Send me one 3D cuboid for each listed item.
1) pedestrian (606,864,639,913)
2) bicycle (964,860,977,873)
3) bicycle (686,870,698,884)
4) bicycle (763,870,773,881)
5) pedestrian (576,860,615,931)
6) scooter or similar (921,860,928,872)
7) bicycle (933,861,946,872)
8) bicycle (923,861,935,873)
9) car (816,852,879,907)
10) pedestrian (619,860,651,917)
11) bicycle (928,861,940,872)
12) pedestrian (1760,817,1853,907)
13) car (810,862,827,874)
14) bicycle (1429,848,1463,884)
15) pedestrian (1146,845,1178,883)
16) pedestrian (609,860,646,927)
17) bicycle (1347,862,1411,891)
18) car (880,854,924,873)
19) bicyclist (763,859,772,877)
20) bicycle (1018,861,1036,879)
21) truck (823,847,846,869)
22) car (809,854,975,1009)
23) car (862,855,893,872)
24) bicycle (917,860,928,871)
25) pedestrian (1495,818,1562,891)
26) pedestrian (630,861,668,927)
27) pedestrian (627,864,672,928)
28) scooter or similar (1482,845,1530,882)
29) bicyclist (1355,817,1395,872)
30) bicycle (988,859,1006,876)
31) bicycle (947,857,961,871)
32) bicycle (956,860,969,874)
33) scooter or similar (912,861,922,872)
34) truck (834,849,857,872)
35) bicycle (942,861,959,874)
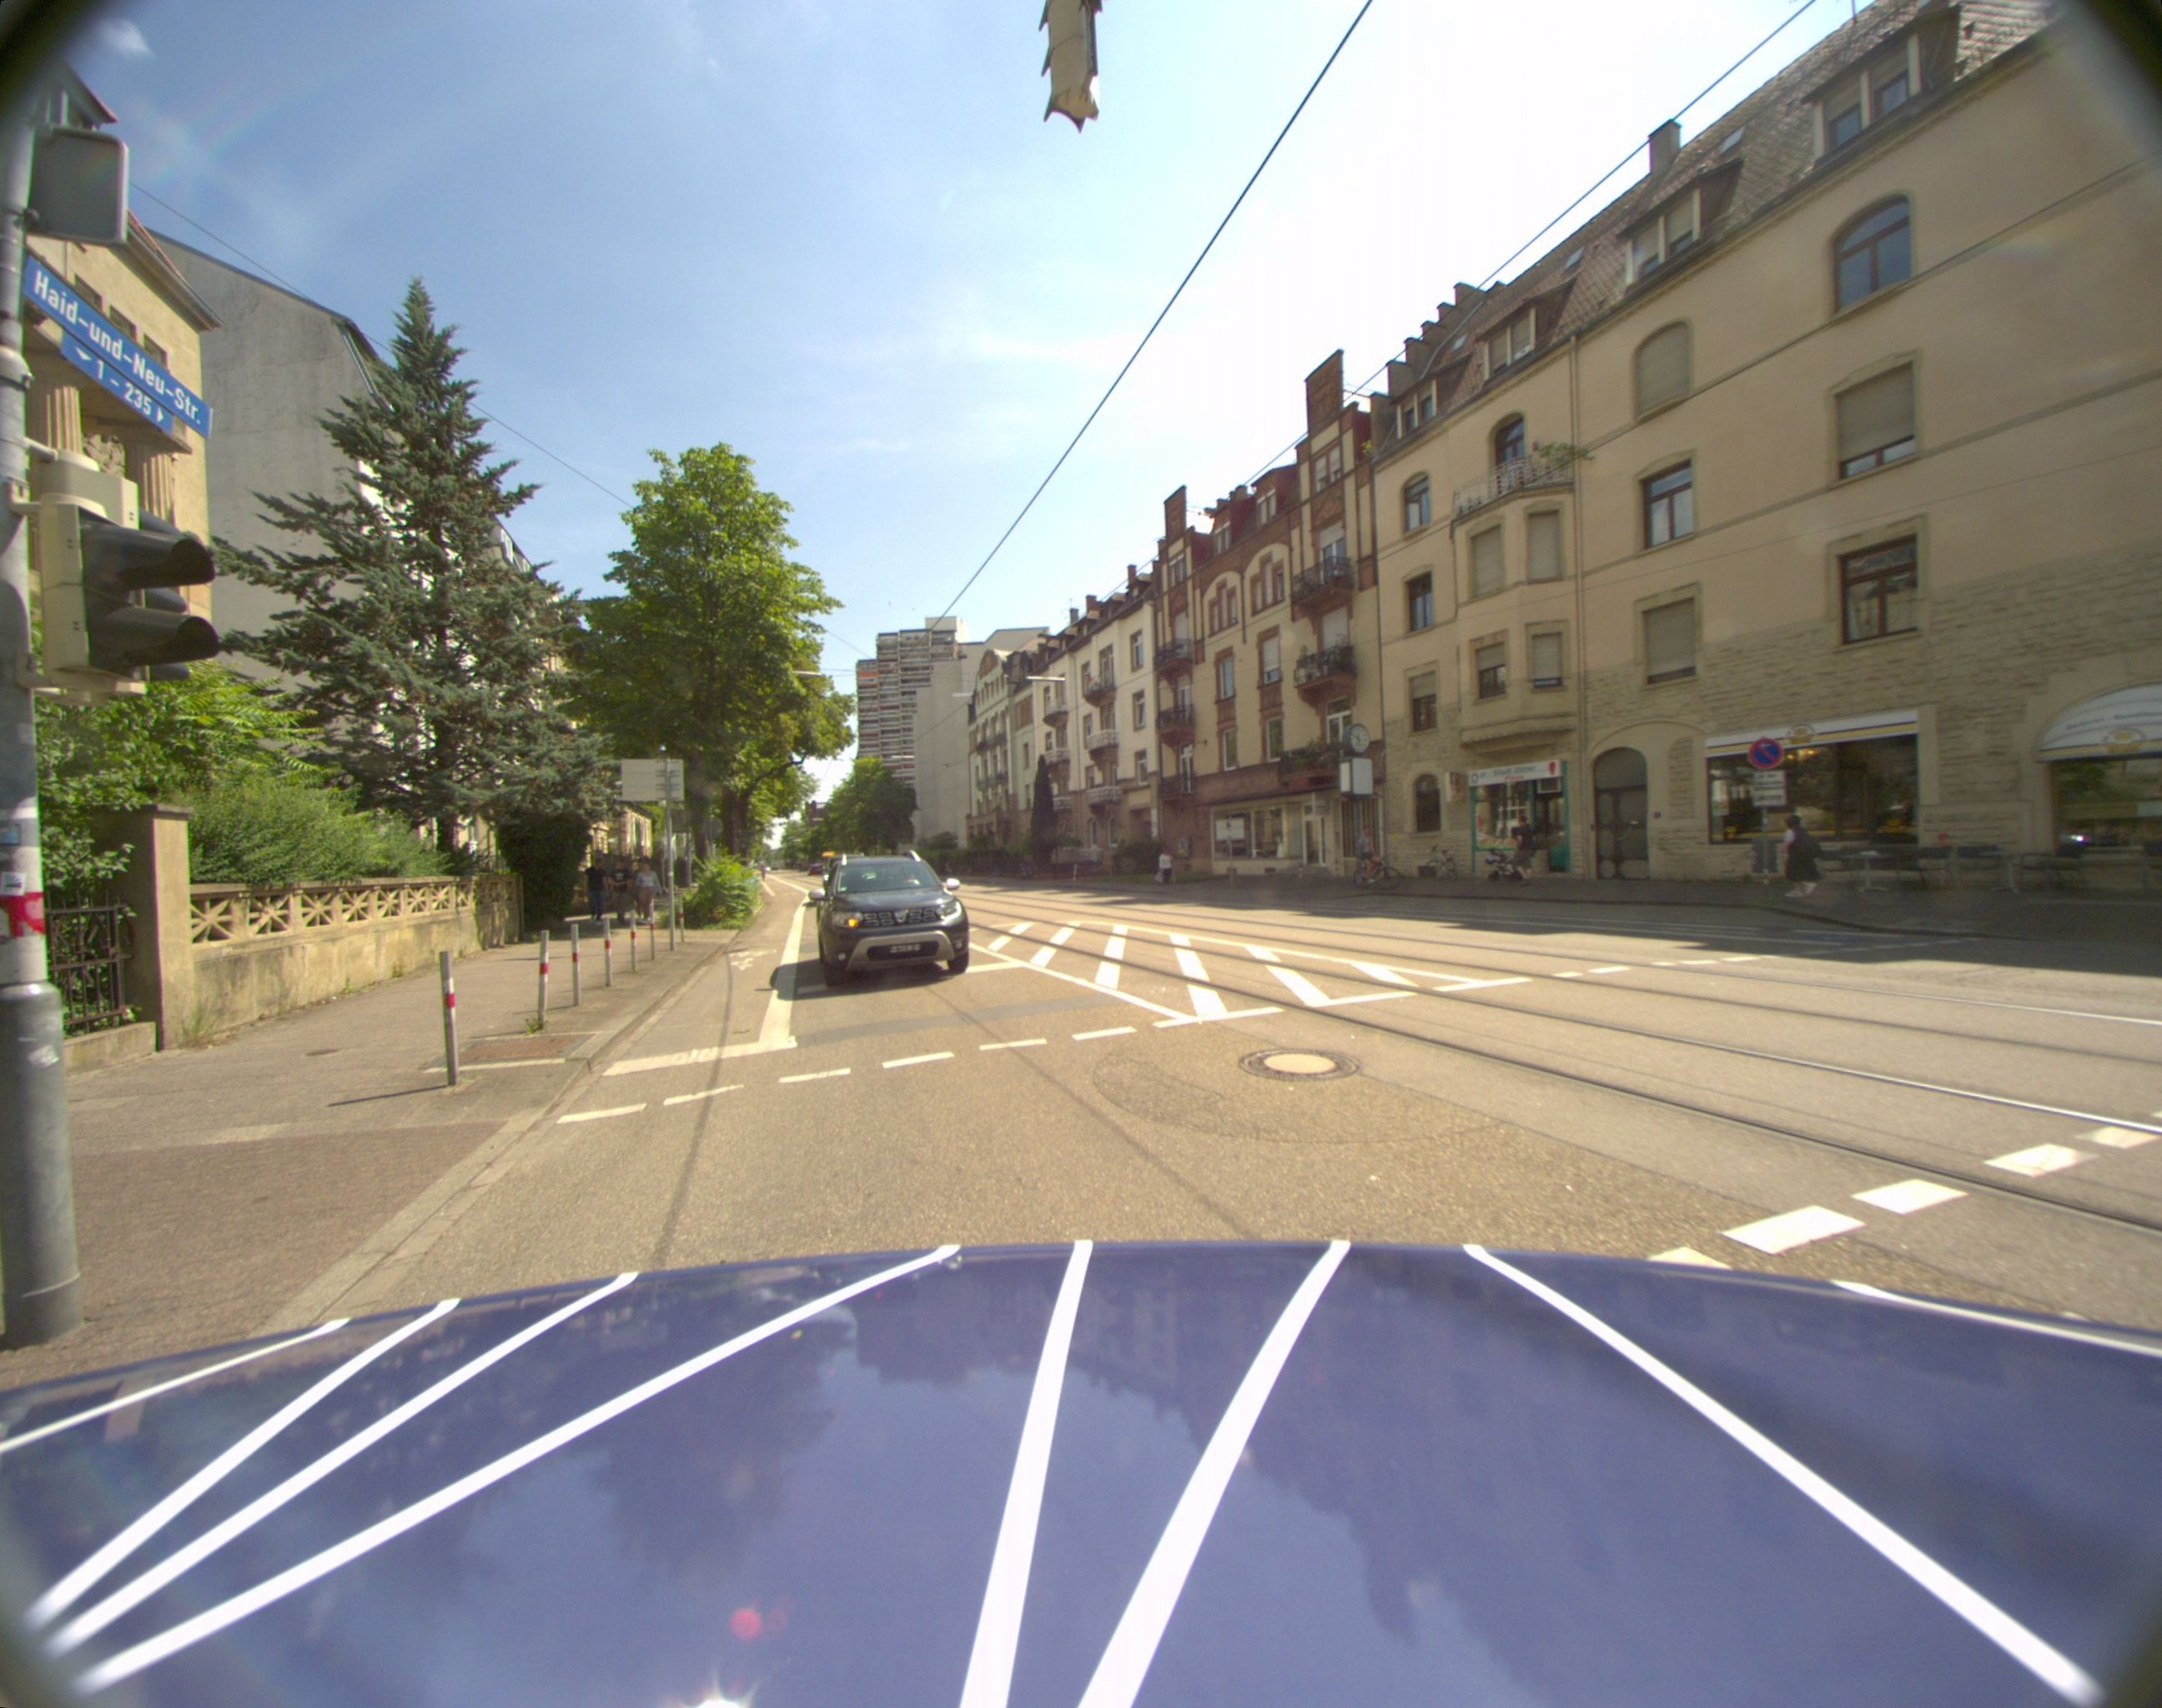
[{"bbox_3d":[-16.107,1.198,26.721,0.861,1.636,0.835,-2,1,-26],"label":"pedestrian"},{"bbox_3d":[-8.355,0.965,57.493,0.415,0.961,1.722,-6,2,-23],"label":"bicycle"},{"bbox_3d":[-30.840,1.780,60.191,0.610,1.065,1.977,-2,0,-22],"label":"bicycle"},{"bbox_3d":[-34.170,2.305,82.889,0.813,1.089,2.169,-4,2,-25],"label":"bicycle"},{"bbox_3d":[-12.836,1.071,20.103,0.663,1.801,0.975,-2,1,-24],"label":"pedestrian"},{"bbox_3d":[-14.915,1.136,72.363,0.407,1.113,1.288,-3,1,-22],"label":"scooter or similar"},{"bbox_3d":[-12.509,1.102,67.159,0.610,0.970,1.768,-7,2,-24],"label":"bicycle"},{"bbox_3d":[-14.191,1.199,70.791,0.610,0.984,1.704,-7,2,-24],"label":"bicycle"},{"bbox_3d":[-8.958,0.917,28.912,1.755,1.806,4.300,-5,1,-23],"label":"car"},{"bbox_3d":[-14.355,1.094,24.478,0.687,1.787,1.082,-2,1,-24],"label":"pedestrian"},{"bbox_3d":[-13.335,1.135,68.941,0.610,0.984,1.704,-7,2,-24],"label":"bicycle"},{"bbox_3d":[14.068,0.143,14.754,0.864,1.626,1.024,-5,2,-25],"label":"pedestrian"},{"bbox_3d":[-33.909,1.772,98.042,1.830,1.405,4.421,-2,0,-21],"label":"car"},{"bbox_3d":[11.779,0.374,24.528,0.371,1.060,1.464,-3,2,0],"label":"bicycle"},{"bbox_3d":[3.390,0.403,31.746,0.905,1.533,0.982,-2,1,-24],"label":"pedestrian"},{"bbox_3d":[-12.437,1.056,20.876,0.791,1.751,1.049,-2,1,-30],"label":"pedestrian"},{"bbox_3d":[9.131,0.682,23.354,0.755,0.813,1.817,-2,0,-25],"label":"bicycle"},{"bbox_3d":[-19.440,1.030,82.715,1.957,1.914,4.595,-2,0,30],"label":"car"},{"bbox_3d":[-34.283,1.515,82.997,0.774,2.002,0.806,-2,1,-27],"label":"bicyclist"},{"bbox_3d":[-3.246,0.957,45.802,0.412,0.955,1.837,-6,3,-23],"label":"bicycle"},{"bbox_3d":[-48.943,0.818,151.291,2.677,4.155,10.463,-2,0,-10],"label":"truck"},{"bbox_3d":[-2.886,0.893,10.840,1.755,1.641,4.290,-4,1,-20],"label":"car"},{"bbox_3d":[-26.932,1.256,100.684,1.598,2.030,4.060,-2,0,26],"label":"car"},{"bbox_3d":[-15.423,1.149,73.973,0.610,0.984,1.704,-7,2,-24],"label":"bicycle"},{"bbox_3d":[12.228,0.011,20.790,0.904,1.880,1.162,-6,2,-24],"label":"pedestrian"},{"bbox_3d":[-12.032,1.089,21.189,0.707,1.766,0.945,-2,1,-21],"label":"pedestrian"},{"bbox_3d":[-11.488,1.091,20.253,0.769,1.641,0.972,-2,1,-17],"label":"pedestrian"},{"bbox_3d":[12.743,0.277,22.812,1.207,1.038,0.697,-2,2,26],"label":"scooter or similar"},{"bbox_3d":[9.053,-0.280,23.416,0.759,1.653,0.829,-2,1,-25],"label":"bicyclist"},{"bbox_3d":[-5.702,0.903,51.292,0.610,1.059,1.768,-7,2,-24],"label":"bicycle"},{"bbox_3d":[-10.378,0.805,62.136,0.610,1.027,1.768,-7,2,-24],"label":"bicycle"},{"bbox_3d":[-9.245,1.007,59.111,0.466,0.994,1.704,-6,2,-23],"label":"bicycle"},{"bbox_3d":[-16.261,1.256,75.408,0.408,1.014,1.221,-3,1,-39],"label":"scooter or similar"},{"bbox_3d":[-31.048,0.869,100.051,2.310,2.903,6.503,-2,0,-22],"label":"truck"},{"bbox_3d":[-10.277,1.049,59.831,0.608,0.993,1.776,-2,0,12],"label":"bicycle"}]
